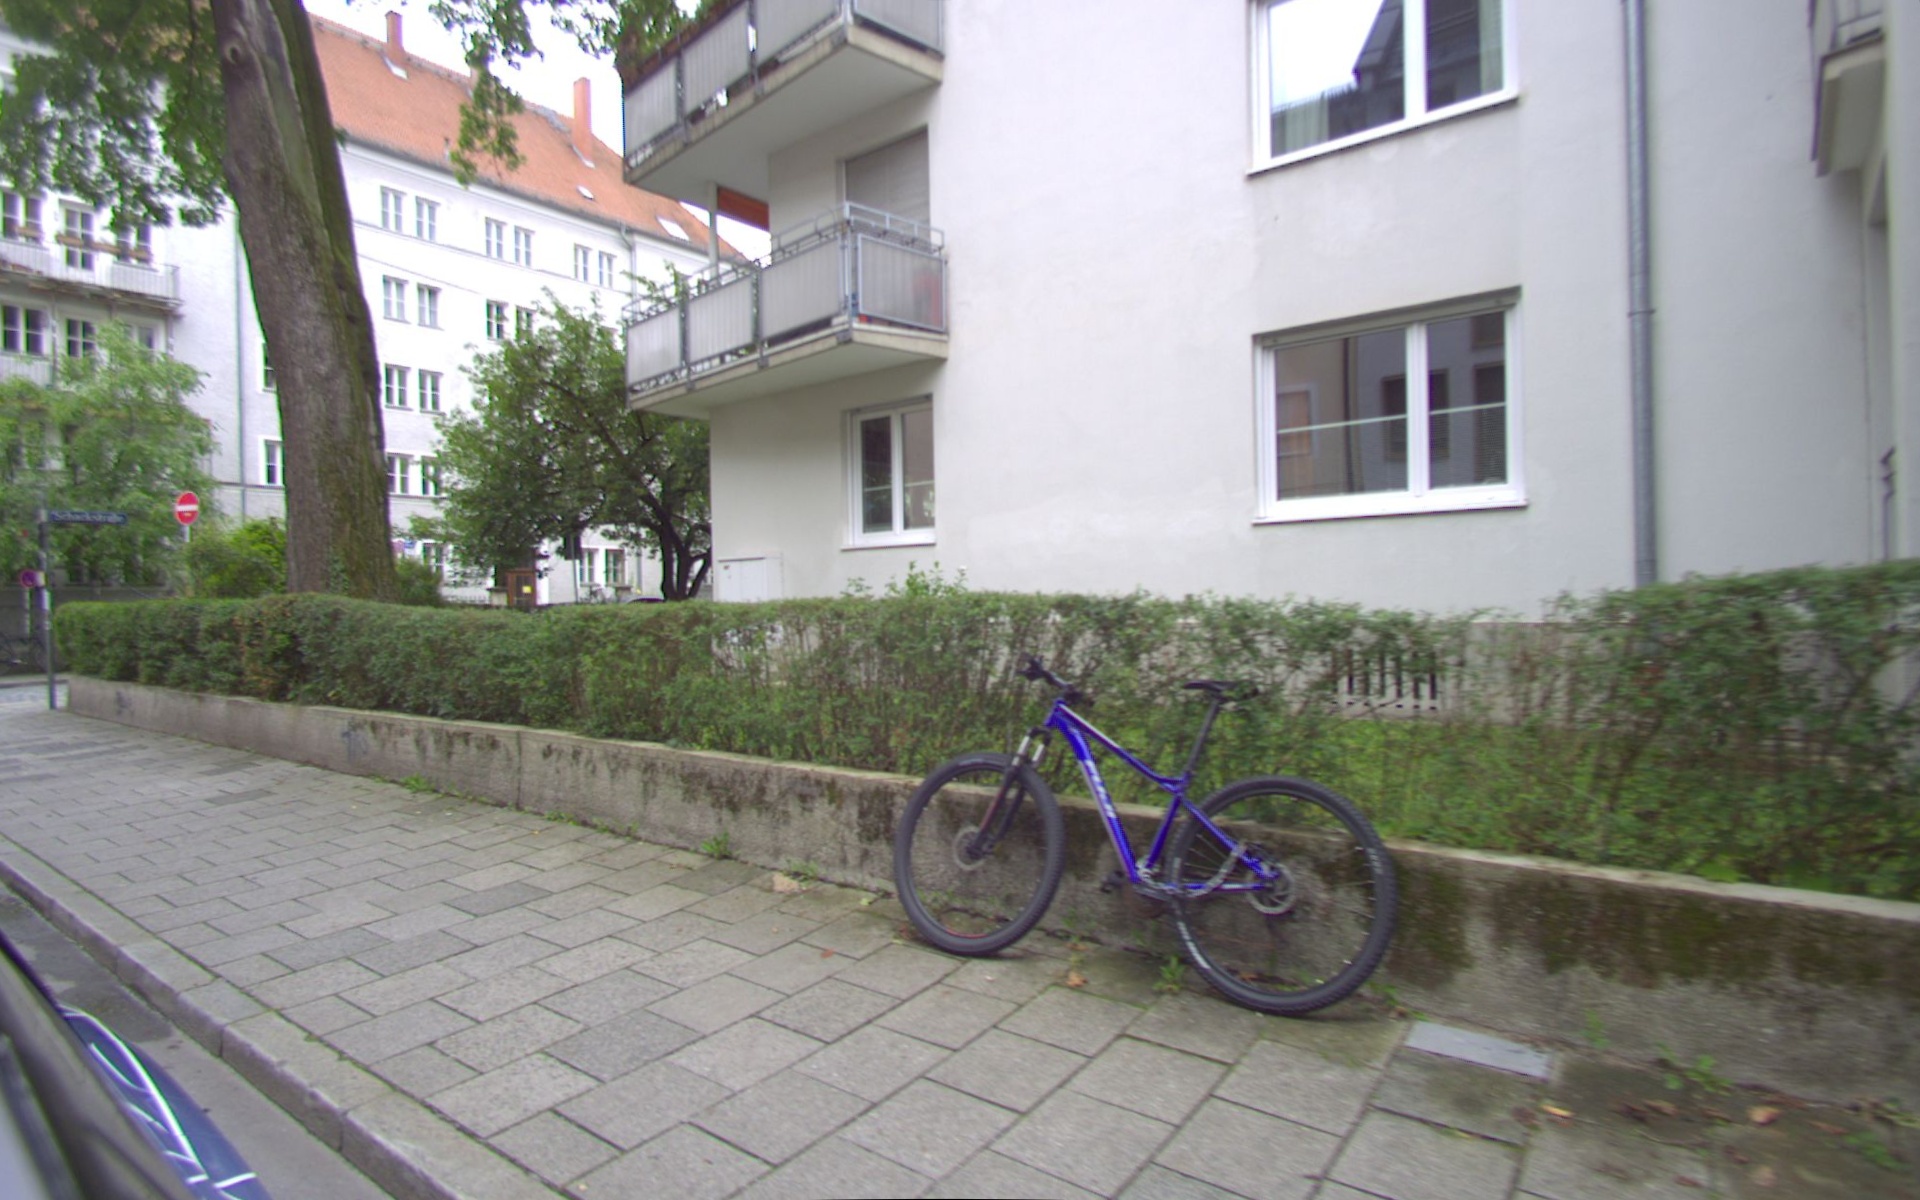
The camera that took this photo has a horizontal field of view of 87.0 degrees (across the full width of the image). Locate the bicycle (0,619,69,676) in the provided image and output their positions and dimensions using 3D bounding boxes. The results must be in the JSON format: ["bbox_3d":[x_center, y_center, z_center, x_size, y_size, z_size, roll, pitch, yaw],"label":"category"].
[{"bbox_3d":[-21.893,1.094,23.462,0.431,1.270,1.790,-1,0,36],"label":"bicycle"}]

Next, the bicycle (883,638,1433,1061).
[{"bbox_3d":[0.548,0.686,3.346,1.778,1.079,0.343,-1,3,38],"label":"bicycle"}]
